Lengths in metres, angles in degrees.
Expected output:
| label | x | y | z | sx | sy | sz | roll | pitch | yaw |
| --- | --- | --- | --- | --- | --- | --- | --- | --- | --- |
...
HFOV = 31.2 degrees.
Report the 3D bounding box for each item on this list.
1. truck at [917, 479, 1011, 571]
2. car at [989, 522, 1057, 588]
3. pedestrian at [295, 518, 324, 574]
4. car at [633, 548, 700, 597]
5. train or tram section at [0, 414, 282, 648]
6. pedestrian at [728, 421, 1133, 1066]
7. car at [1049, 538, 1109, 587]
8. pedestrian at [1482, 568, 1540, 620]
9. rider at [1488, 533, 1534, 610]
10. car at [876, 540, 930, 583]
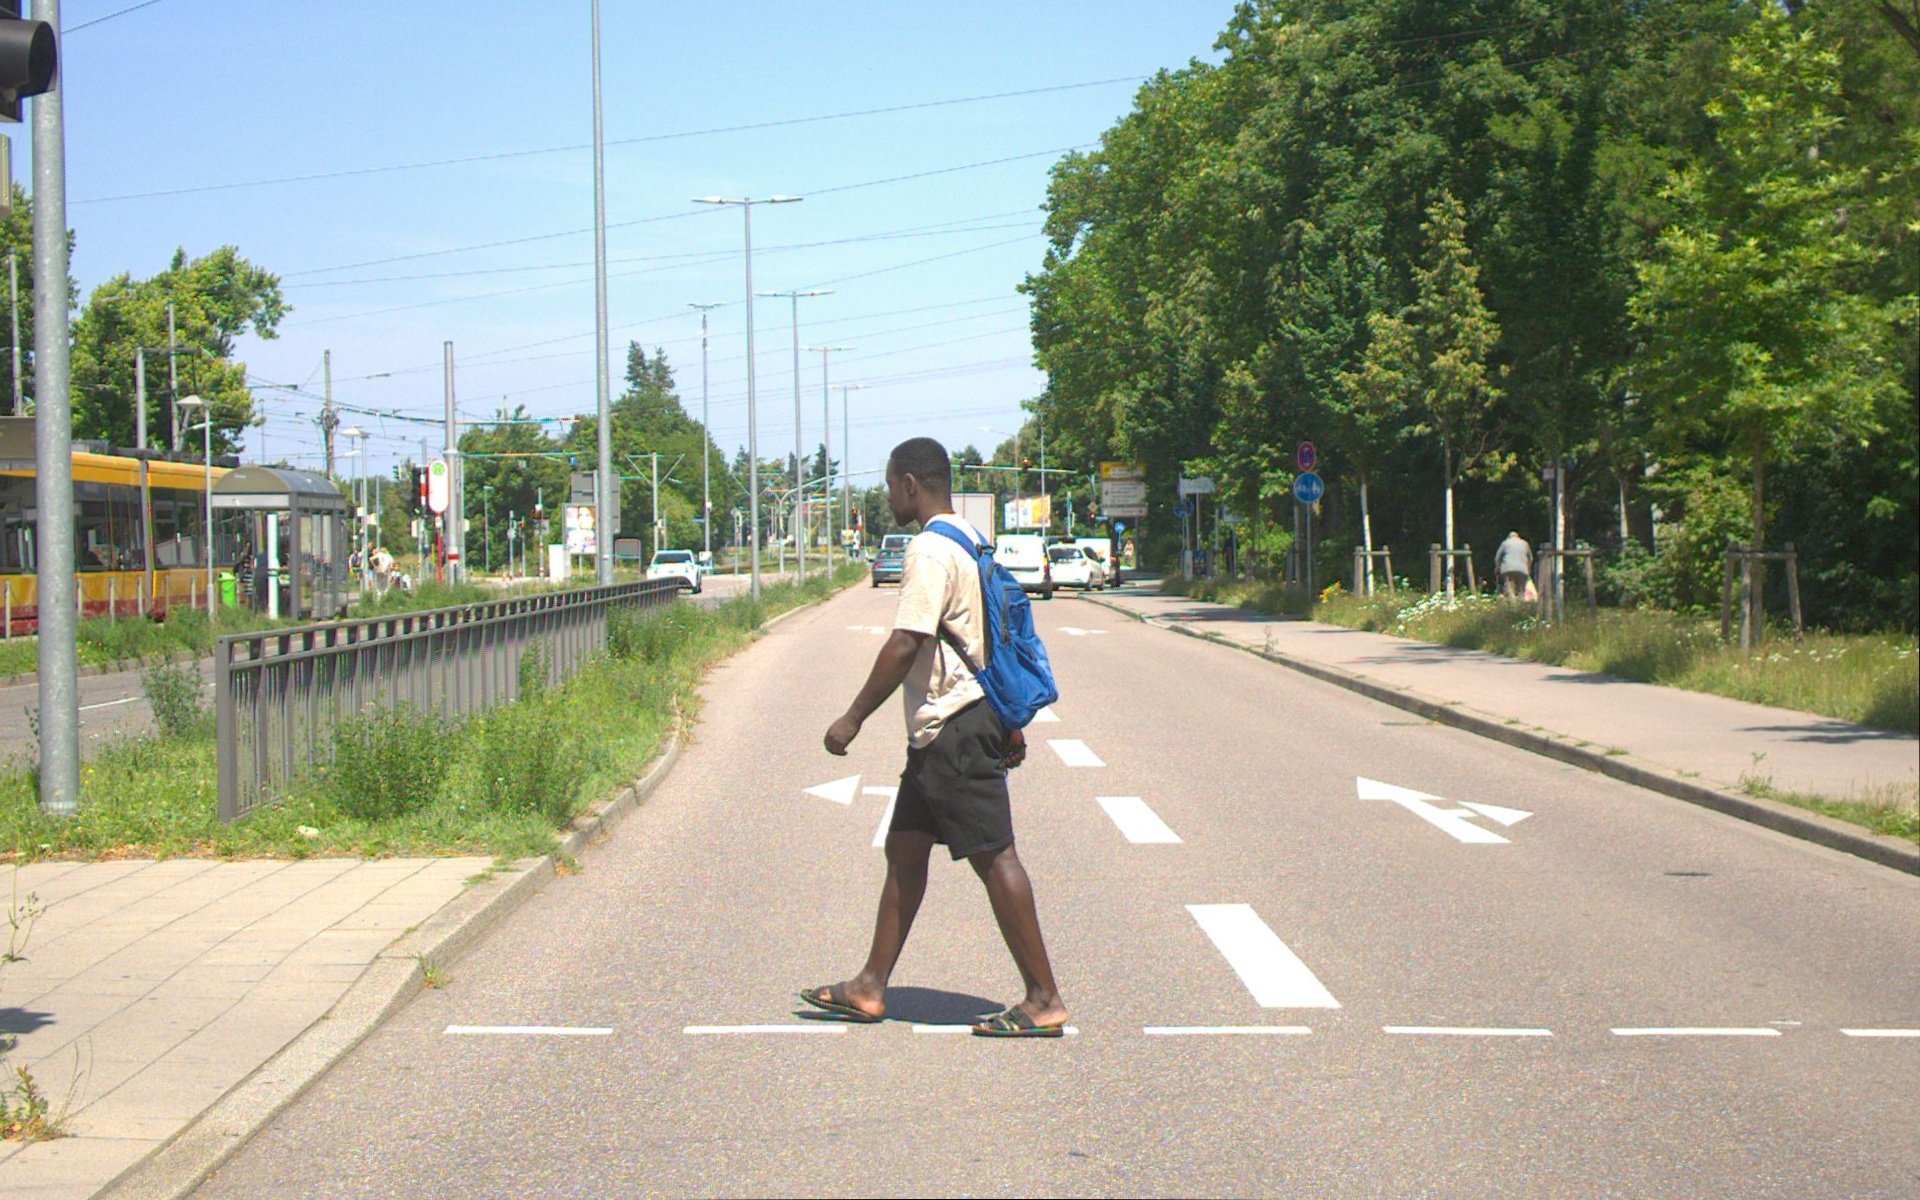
| label | x | y | z | sx | sy | sz | roll | pitch | yaw |
| --- | --- | --- | --- | --- | --- | --- | --- | --- | --- |
| truck | 0.114 | -3.205 | 148.451 | 3.899 | 3.800 | 10.793 | 0 | 1 | -1 |
| car | 1.800 | -1.276 | 96.539 | 1.728 | 1.807 | 4.000 | 1 | 1 | 3 |
| pedestrian | -22.699 | -1.895 | 120.012 | 0.863 | 1.957 | 0.873 | 0 | 1 | -1 |
| car | -10.057 | -0.954 | 118.051 | 1.993 | 1.644 | 4.000 | 0 | 1 | -1 |
| train or tram section | -16.512 | -1.246 | 64.197 | 2.788 | 3.655 | 26.001 | 0 | 1 | -1 |
| pedestrian | -0.076 | 0.401 | 10.310 | 1.047 | 1.844 | 0.757 | 0 | 1 | 15 |
| car | 3.851 | -1.232 | 111.667 | 1.803 | 1.534 | 4.000 | 0 | 1 | 0 |
| pedestrian | 9.276 | -0.111 | 57.890 | 0.678 | 0.845 | 1.774 | 0 | 1 | -1 |
| rider | 9.270 | -0.482 | 57.872 | 0.678 | 1.277 | 0.534 | 0 | 1 | -1 |
| car | -1.988 | -1.388 | 121.598 | 1.801 | 1.481 | 4.000 | 0 | 1 | 0 |
